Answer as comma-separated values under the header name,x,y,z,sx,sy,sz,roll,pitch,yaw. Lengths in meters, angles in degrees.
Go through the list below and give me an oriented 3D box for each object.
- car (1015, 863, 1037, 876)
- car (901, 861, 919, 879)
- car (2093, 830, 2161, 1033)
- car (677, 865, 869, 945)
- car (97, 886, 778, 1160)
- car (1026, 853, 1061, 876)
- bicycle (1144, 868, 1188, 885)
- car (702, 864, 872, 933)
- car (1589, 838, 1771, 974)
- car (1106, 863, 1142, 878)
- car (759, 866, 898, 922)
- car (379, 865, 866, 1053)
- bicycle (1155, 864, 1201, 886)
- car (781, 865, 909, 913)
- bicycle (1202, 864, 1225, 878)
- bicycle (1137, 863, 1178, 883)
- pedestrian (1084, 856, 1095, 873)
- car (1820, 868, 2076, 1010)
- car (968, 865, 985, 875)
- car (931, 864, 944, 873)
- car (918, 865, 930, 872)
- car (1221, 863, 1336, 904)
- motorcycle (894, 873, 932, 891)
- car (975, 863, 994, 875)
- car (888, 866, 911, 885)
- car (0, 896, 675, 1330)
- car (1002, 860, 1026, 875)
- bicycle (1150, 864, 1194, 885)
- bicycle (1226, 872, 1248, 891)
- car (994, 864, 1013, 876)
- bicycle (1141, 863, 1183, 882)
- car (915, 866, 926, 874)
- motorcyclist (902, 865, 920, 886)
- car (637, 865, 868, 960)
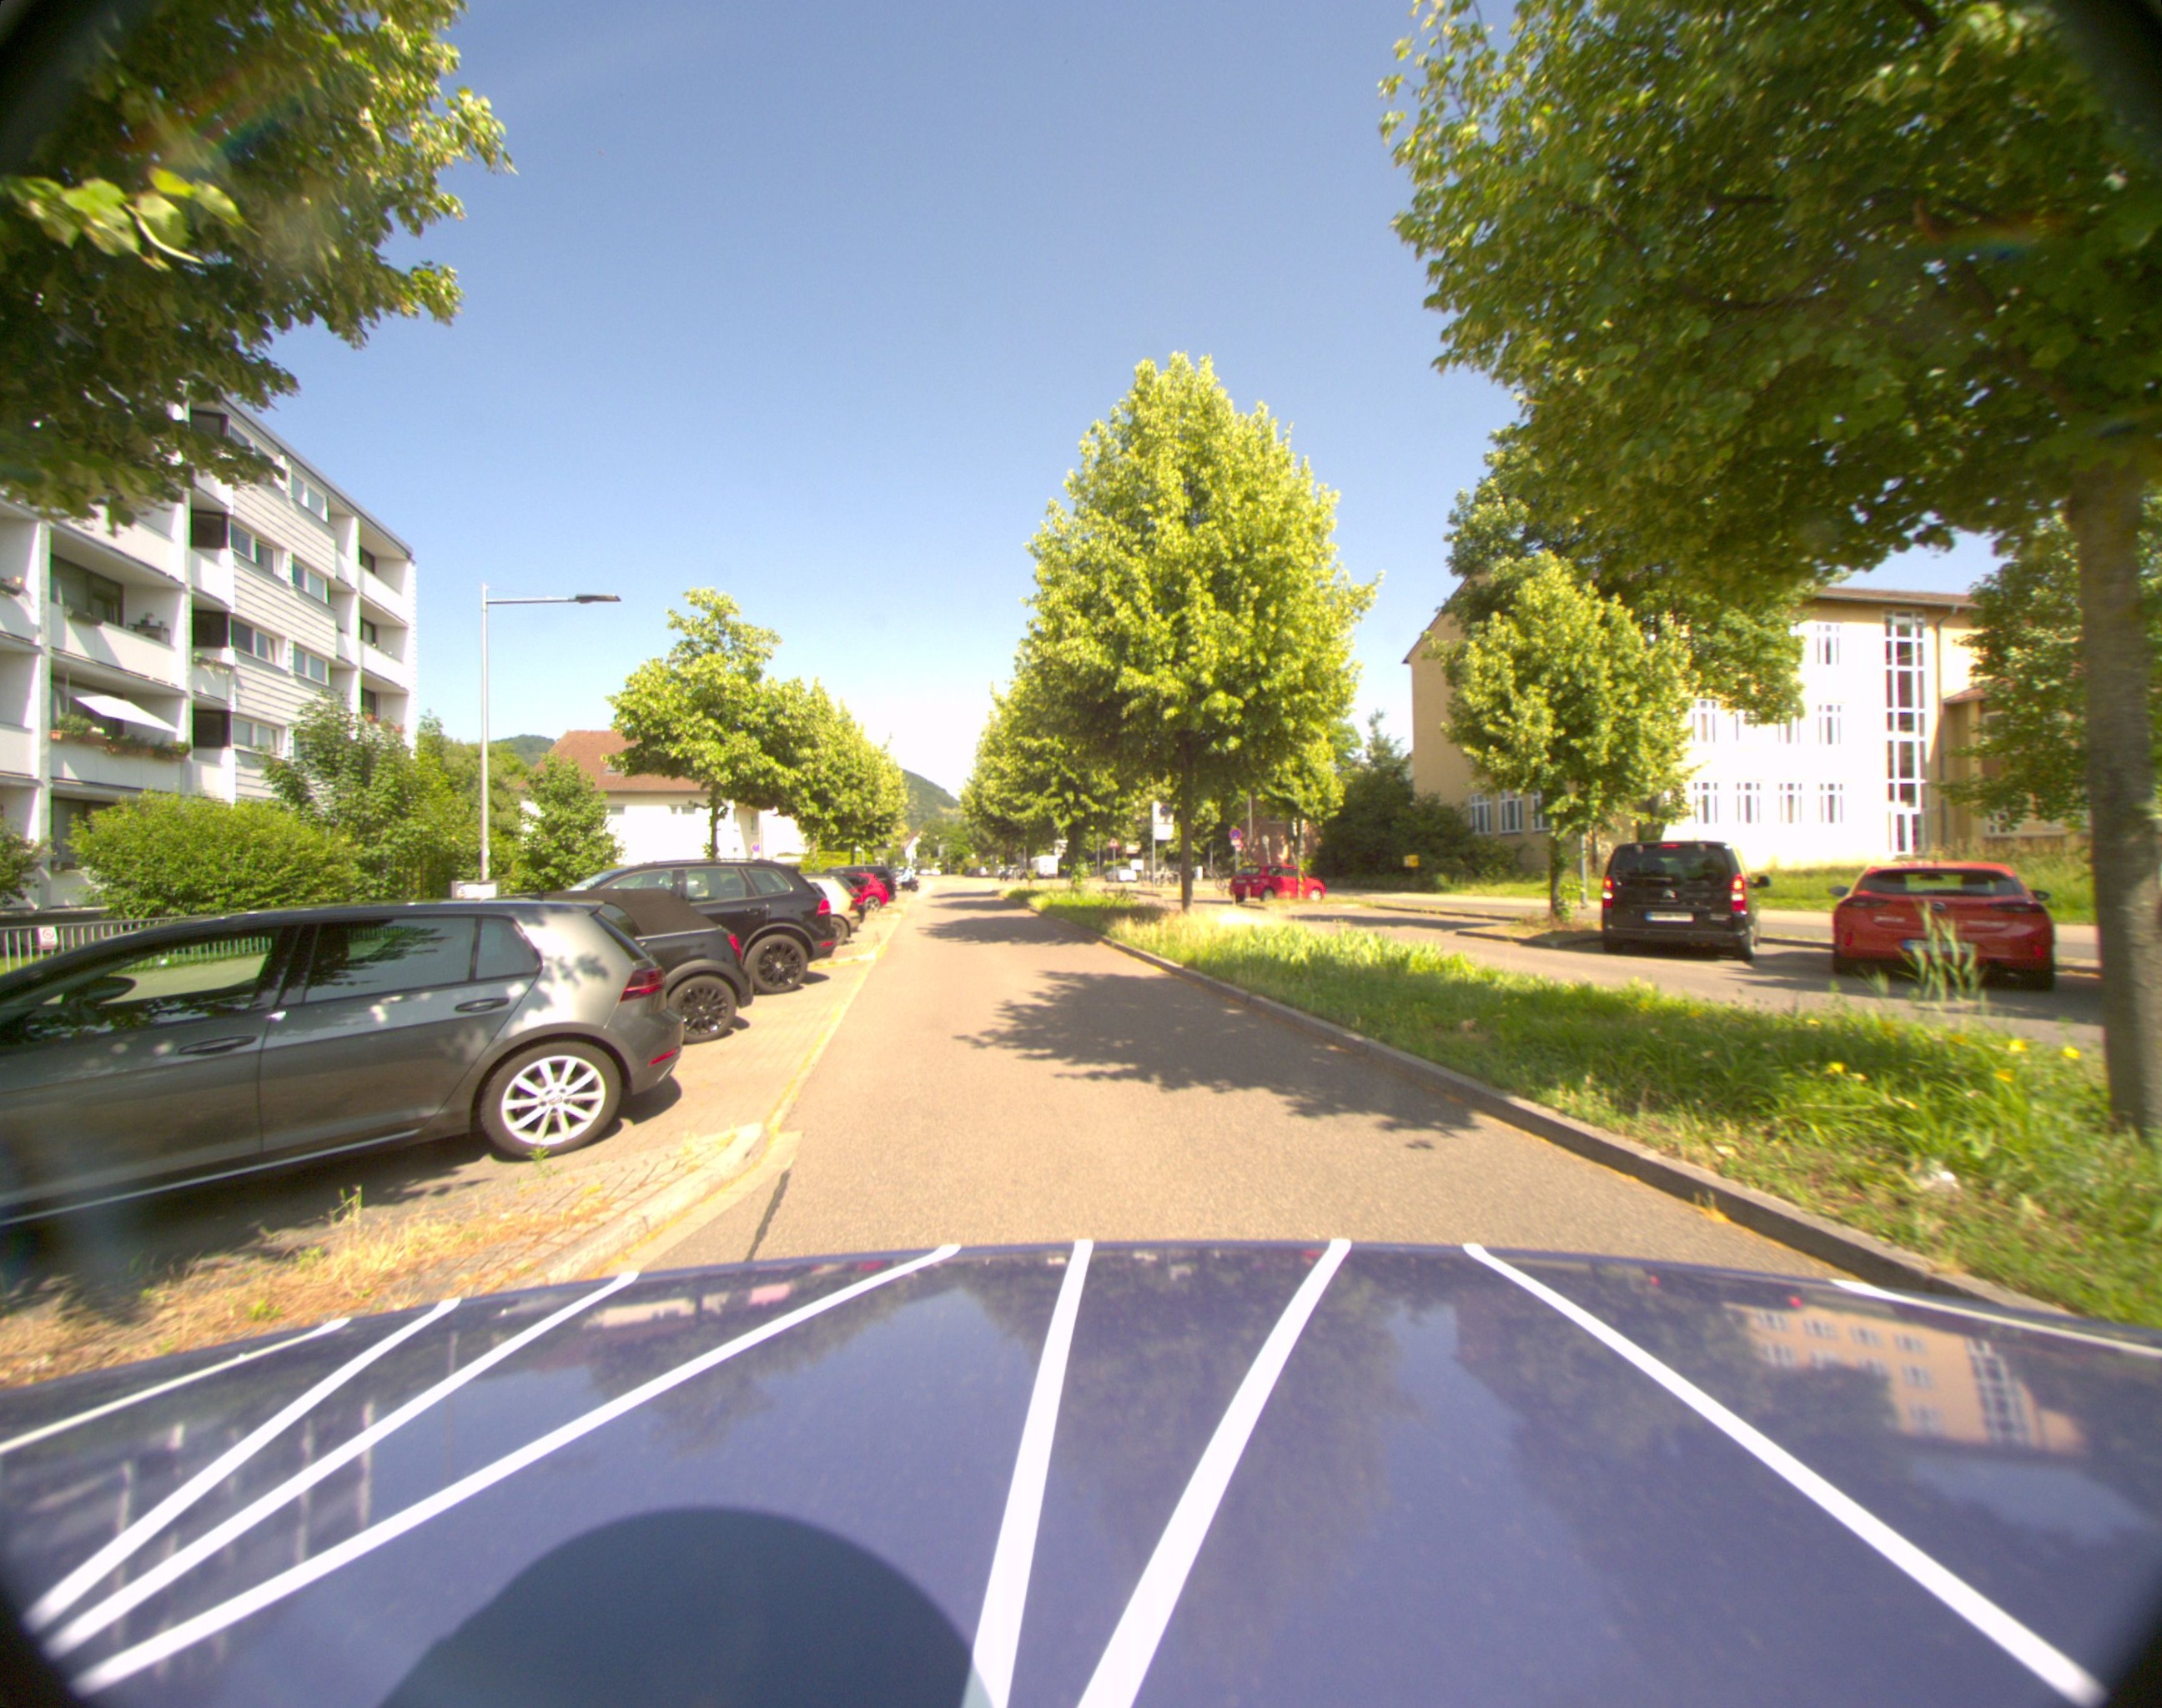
name,x,y,z,sx,sy,sz,roll,pitch,yaw
car,-6.582,1.832,90.503,1.727,1.549,3.994,0,-1,-19
car,-19.367,1.754,85.930,1.768,1.816,4.593,-3,1,-14
car,11.322,0.635,7.158,3.782,1.761,1.814,-1,0,-42
car,-7.261,1.132,17.964,4.006,1.630,1.749,-1,-1,-29
car,-4.987,1.093,6.548,4.008,1.465,1.764,-1,0,-43
car,-4.237,1.249,84.695,2.098,2.481,5.942,0,-1,-22
bicycle,5.259,1.386,47.002,2.554,0.981,0.739,0,-1,-13
car,-7.840,1.116,20.312,4.006,1.630,1.796,-1,0,-30
car,9.805,0.736,12.338,1.999,1.805,4.198,-2,-2,42
car,3.603,1.421,64.405,1.727,1.259,3.994,0,-1,-19
car,-8.371,1.258,25.477,1.875,1.630,4.008,0,0,41
car,-5.261,1.014,9.254,4.756,1.650,1.748,-1,0,-41
bicycle,5.677,1.233,44.651,2.554,1.249,0.739,-1,0,-13
car,-8.899,1.261,28.798,4.129,1.630,2.039,-1,0,-44
bicycle,10.174,1.325,58.415,1.711,1.074,0.378,-2,-1,30
bicycle,4.963,1.228,49.236,2.554,1.248,0.739,0,-1,-13
pedestrian,0.902,1.095,80.707,0.977,1.769,0.724,-1,0,-15
car,10.913,0.914,9.697,3.782,1.419,1.851,0,-2,-42
car,-15.981,2.457,116.096,1.849,1.448,4.187,0,-1,-20
car,-28.073,2.808,148.468,1.962,1.543,3.994,-1,0,-19
car,-33.070,3.044,160.213,2.002,1.608,3.994,-1,-1,-19
car,7.457,1.082,28.666,4.007,1.457,1.995,1,-1,-32
motorcycle,-10.125,1.664,45.838,2.235,0.987,0.925,-1,0,-12
car,-14.146,2.176,111.070,1.849,1.753,4.578,0,-1,-20
car,-14.394,1.683,60.459,1.622,1.382,3.996,-2,0,-11
car,-4.620,1.093,3.869,4.126,1.521,1.995,-1,0,-41
car,-6.885,1.344,78.122,1.748,1.538,4.067,0,0,-15
bicycle,5.484,1.208,45.762,2.524,1.248,0.739,0,-1,-13
bicycle,7.641,1.320,37.304,0.522,0.898,1.269,0,0,-16
car,-10.284,2.081,100.697,1.727,1.549,3.994,0,-1,-19
bicycle,5.153,1.165,48.252,2.554,1.232,0.739,0,-1,-13
car,-35.222,3.453,166.636,2.002,1.674,3.994,-1,-1,-19
motorcyclist,-10.245,1.303,45.813,1.062,1.214,0.903,-1,0,-12
car,-6.467,1.076,15.276,4.004,1.630,1.750,-1,0,-23
